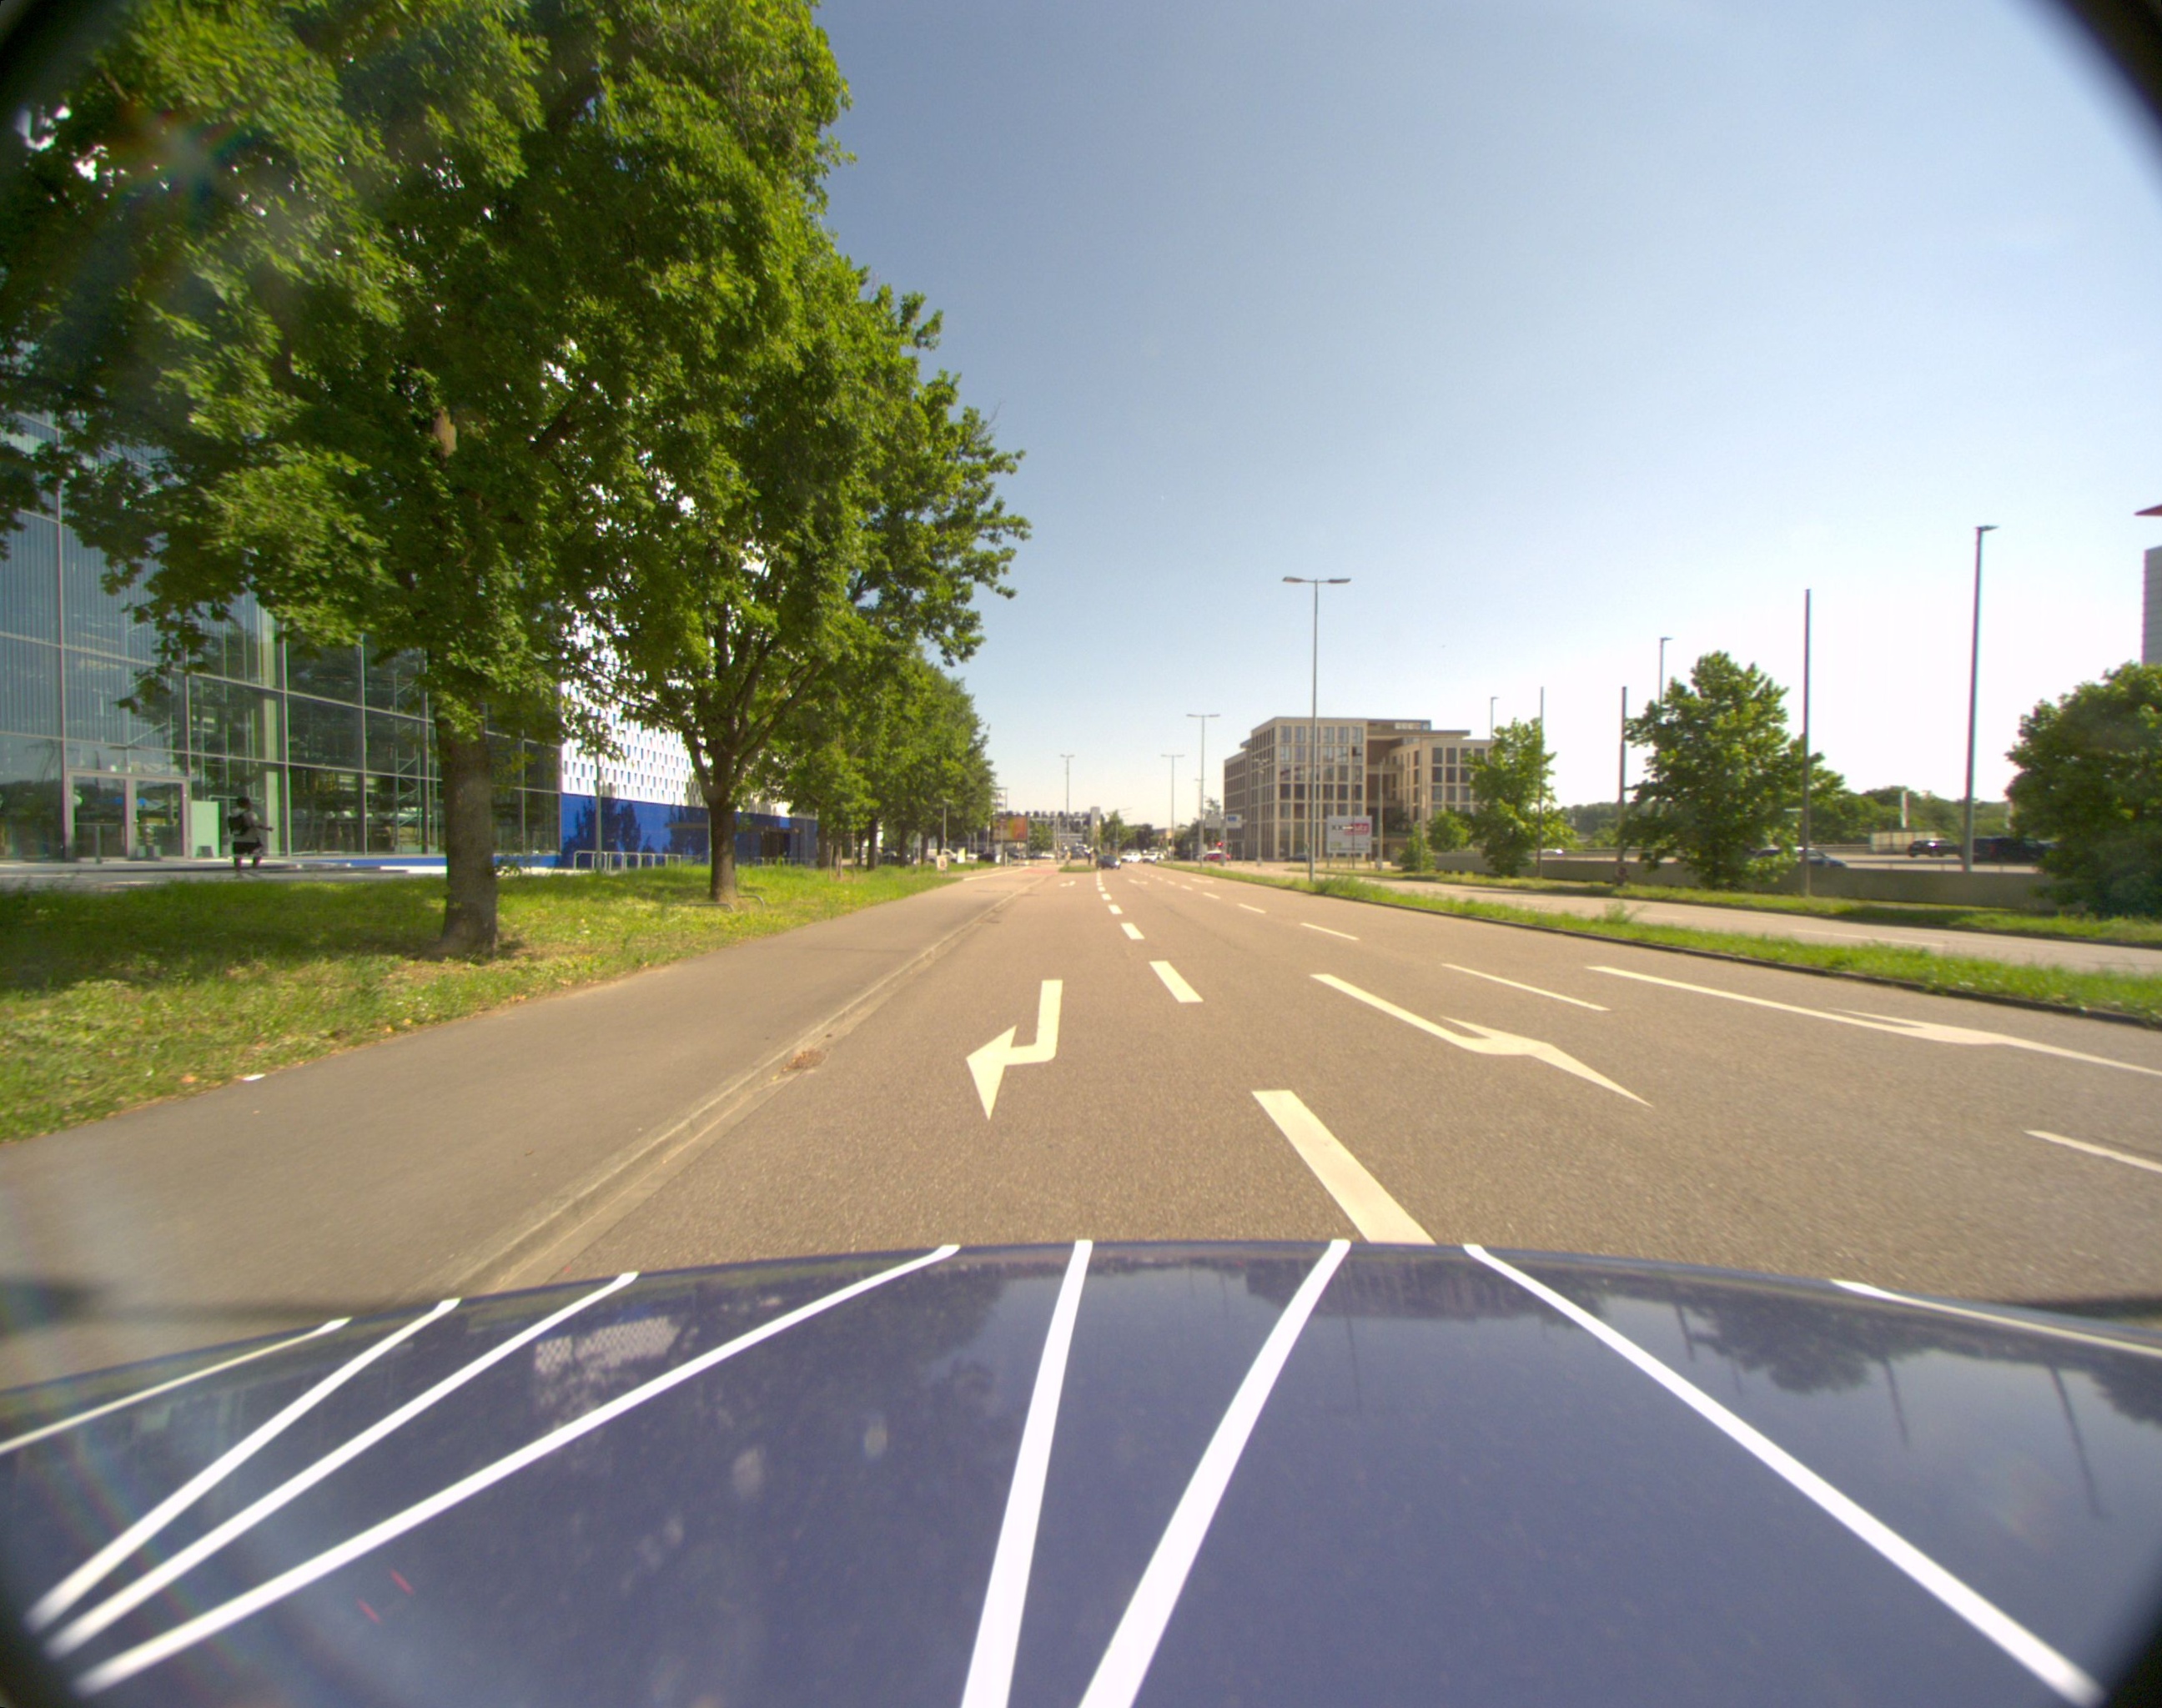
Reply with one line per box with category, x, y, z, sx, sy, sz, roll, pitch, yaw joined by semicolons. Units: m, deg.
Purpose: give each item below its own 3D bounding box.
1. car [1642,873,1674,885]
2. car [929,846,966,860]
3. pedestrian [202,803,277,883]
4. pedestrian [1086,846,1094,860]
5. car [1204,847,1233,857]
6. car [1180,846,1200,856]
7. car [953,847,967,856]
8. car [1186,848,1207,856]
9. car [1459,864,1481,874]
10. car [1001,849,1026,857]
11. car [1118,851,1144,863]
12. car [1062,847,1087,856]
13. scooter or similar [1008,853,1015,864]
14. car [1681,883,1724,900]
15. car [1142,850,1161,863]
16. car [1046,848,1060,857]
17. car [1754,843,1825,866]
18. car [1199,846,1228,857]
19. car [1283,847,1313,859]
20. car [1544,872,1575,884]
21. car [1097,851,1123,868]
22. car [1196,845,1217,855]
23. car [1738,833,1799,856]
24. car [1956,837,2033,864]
car;47.852;2.057;63.022;1.942;0.970;0.910;0;2;-4
car;-18.929;-0.134;107.861;4.998;1.996;1.740;0;2;-3
pedestrian;-17.342;-0.224;15.678;0.690;1.602;0.771;1;0;-5
pedestrian;1.127;-0.178;96.452;0.704;1.769;0.961;1;1;24
car;21.351;-0.369;117.946;4.118;1.519;1.530;0;1;-3
car;23.567;-0.651;164.162;3.991;2.002;2.003;1;1;20
car;-20.610;-0.407;129.679;2.004;1.413;4.112;0;0;-3
car;24.500;-0.396;161.344;3.991;1.605;2.003;1;1;20
car;39.702;1.538;77.538;1.847;0.970;0.866;0;2;-4
car;-11.663;-0.216;131.325;4.349;1.342;1.821;0;1;-3
car;7.418;0.430;112.276;1.828;1.703;3.774;2;2;42
car;-1.169;-0.475;134.199;4.479;1.578;1.979;0;1;0
scooter or similar;-7.317;0.440;80.125;0.402;1.160;1.185;1;2;16
car;39.876;2.409;48.755;1.942;0.970;1.070;0;2;-4
car;10.270;0.345;109.959;2.022;1.827;4.316;0;2;15
car;-4.804;-0.296;131.060;1.887;1.452;4.000;0;2;4
car;34.908;0.017;37.458;2.520;1.054;1.070;0;2;-4
car;21.168;-0.373;121.606;4.229;1.701;1.903;0;1;-3
car;34.871;-0.118;122.096;4.240;1.878;1.834;0;2;-1
car;39.696;1.987;63.047;1.942;0.970;1.070;0;2;-4
car;2.874;0.542;76.549;1.772;1.456;4.234;1;1;-8
car;25.527;-0.791;154.342;3.991;2.002;2.003;1;1;20
car;49.392;-0.662;54.615;2.774;1.547;1.774;1;0;-2
car;60.143;-0.239;50.049;3.096;1.748;1.691;0;2;-2
